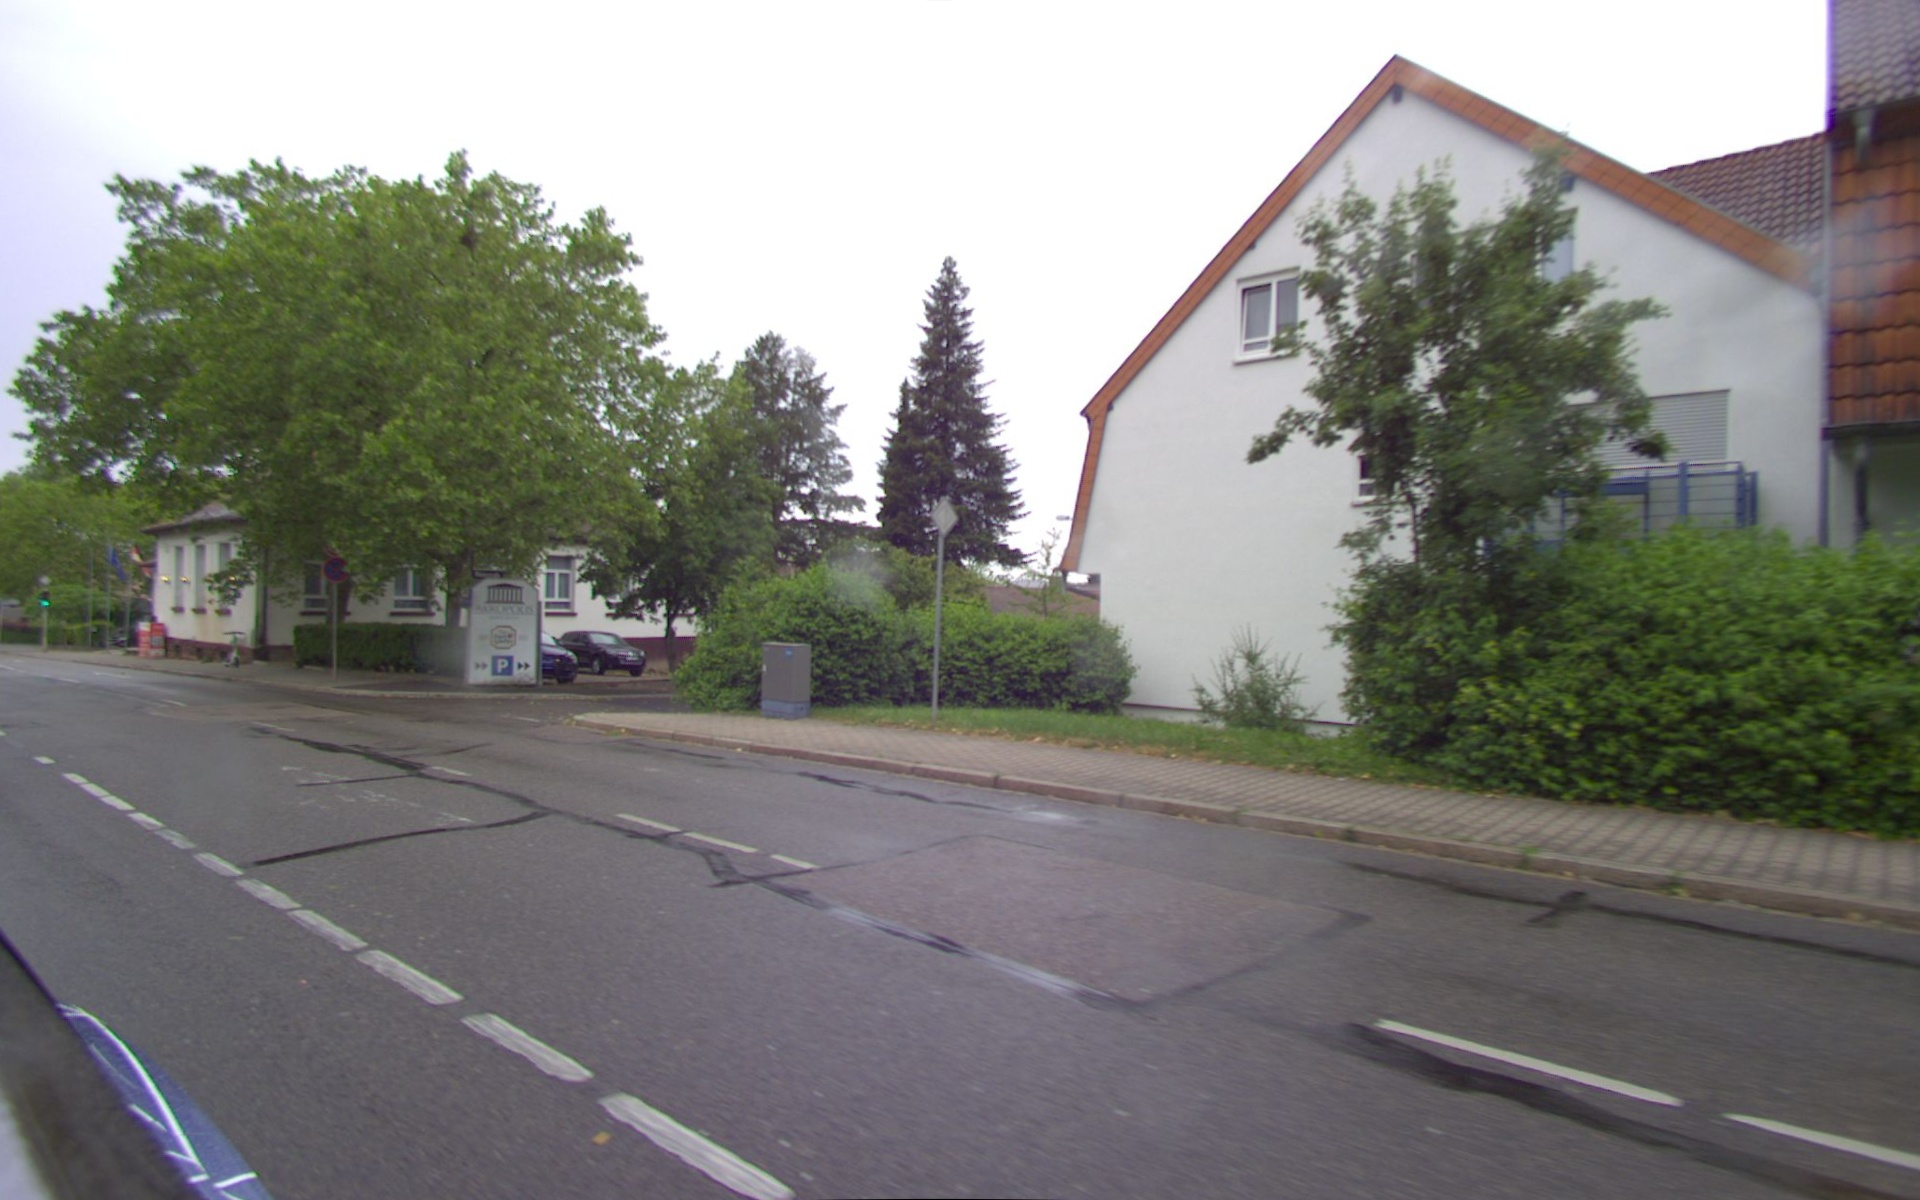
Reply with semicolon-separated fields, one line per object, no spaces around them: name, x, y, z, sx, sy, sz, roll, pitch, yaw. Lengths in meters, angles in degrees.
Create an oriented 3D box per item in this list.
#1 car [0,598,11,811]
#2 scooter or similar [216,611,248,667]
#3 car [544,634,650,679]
car;-9.475;0.859;8.095;4.139;1.608;1.976;-2;0;36
scooter or similar;-23.820;1.247;33.116;1.510;1.788;0.397;0;0;36
car;-14.352;2.206;39.965;4.252;1.698;1.974;-2;-3;38
